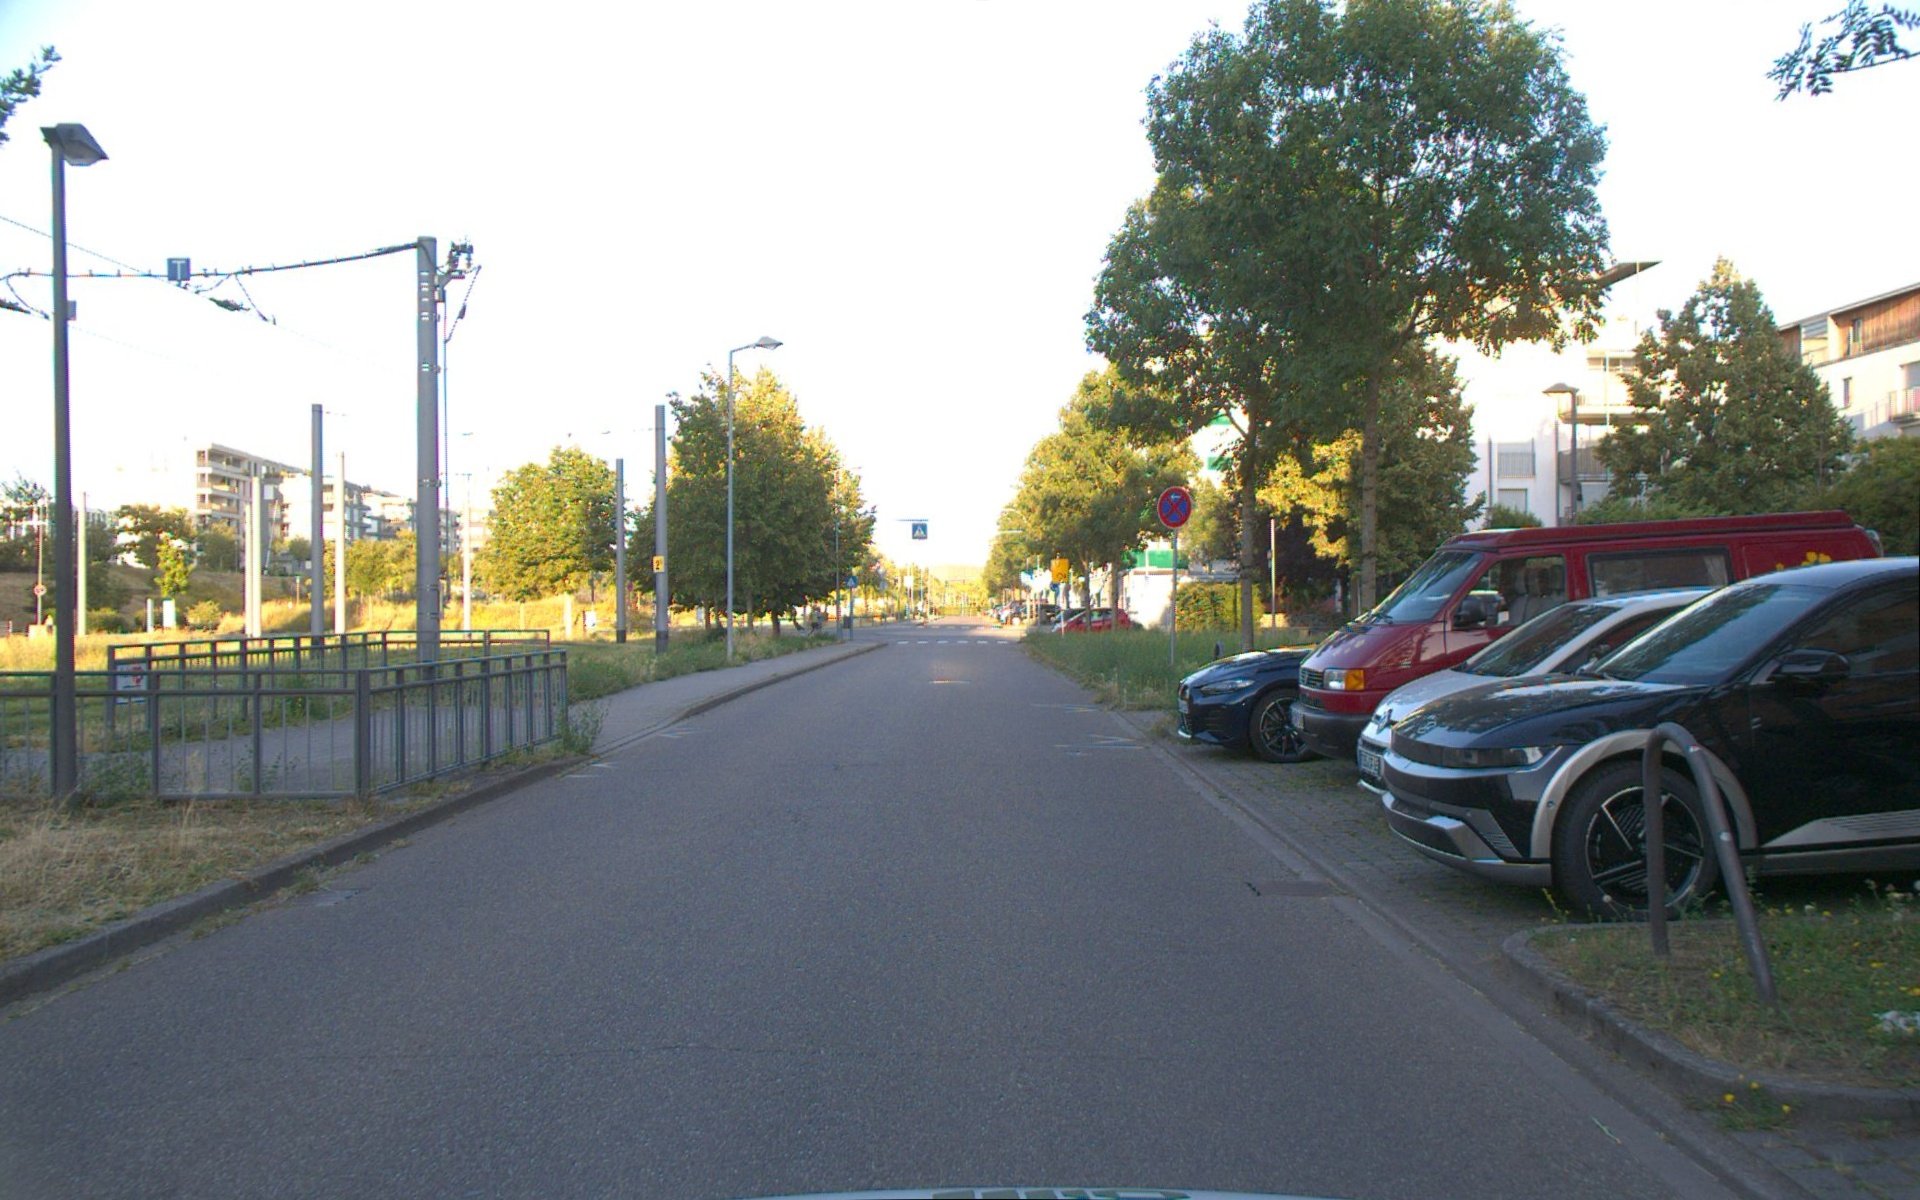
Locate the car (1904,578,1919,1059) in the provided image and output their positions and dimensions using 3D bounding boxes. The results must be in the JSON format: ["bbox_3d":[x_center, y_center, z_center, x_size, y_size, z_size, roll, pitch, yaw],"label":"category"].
[{"bbox_3d":[4.273,0.660,3.453,3.696,1.522,1.539,0,-2,0],"label":"car"}]

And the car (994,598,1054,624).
[{"bbox_3d":[5.423,0.925,140.553,4.904,2.081,2.248,-1,0,-4],"label":"car"}]

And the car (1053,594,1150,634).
[{"bbox_3d":[5.686,0.550,66.894,3.726,1.535,1.678,-1,0,-2],"label":"car"}]

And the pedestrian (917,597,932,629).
[{"bbox_3d":[-2.315,0.862,108.720,0.828,2.049,0.944,-1,-1,6],"label":"pedestrian"}]

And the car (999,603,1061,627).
[{"bbox_3d":[4.949,1.046,117.383,4.392,1.624,2.000,-1,0,1],"label":"car"}]

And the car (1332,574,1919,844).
[{"bbox_3d":[4.372,0.660,10.851,3.453,1.490,1.615,-3,0,0],"label":"car"}]

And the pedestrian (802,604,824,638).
[{"bbox_3d":[-7.433,1.061,83.680,1.001,1.723,0.757,-1,-1,-12],"label":"pedestrian"}]

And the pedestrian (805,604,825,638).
[{"bbox_3d":[-7.396,1.087,84.414,0.965,1.723,0.698,-1,-1,-11],"label":"pedestrian"}]

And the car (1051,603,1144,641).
[{"bbox_3d":[5.794,0.914,69.765,3.726,1.535,1.678,-1,0,-2],"label":"car"}]

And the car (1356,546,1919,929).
[{"bbox_3d":[4.261,0.563,8.187,4.129,1.596,1.792,-3,0,0],"label":"car"}]

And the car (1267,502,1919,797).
[{"bbox_3d":[5.071,0.373,13.357,4.818,2.154,2.017,-1,0,1],"label":"car"}]

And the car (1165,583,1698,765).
[{"bbox_3d":[4.360,0.669,15.806,4.573,1.584,1.811,-1,0,0],"label":"car"}]
